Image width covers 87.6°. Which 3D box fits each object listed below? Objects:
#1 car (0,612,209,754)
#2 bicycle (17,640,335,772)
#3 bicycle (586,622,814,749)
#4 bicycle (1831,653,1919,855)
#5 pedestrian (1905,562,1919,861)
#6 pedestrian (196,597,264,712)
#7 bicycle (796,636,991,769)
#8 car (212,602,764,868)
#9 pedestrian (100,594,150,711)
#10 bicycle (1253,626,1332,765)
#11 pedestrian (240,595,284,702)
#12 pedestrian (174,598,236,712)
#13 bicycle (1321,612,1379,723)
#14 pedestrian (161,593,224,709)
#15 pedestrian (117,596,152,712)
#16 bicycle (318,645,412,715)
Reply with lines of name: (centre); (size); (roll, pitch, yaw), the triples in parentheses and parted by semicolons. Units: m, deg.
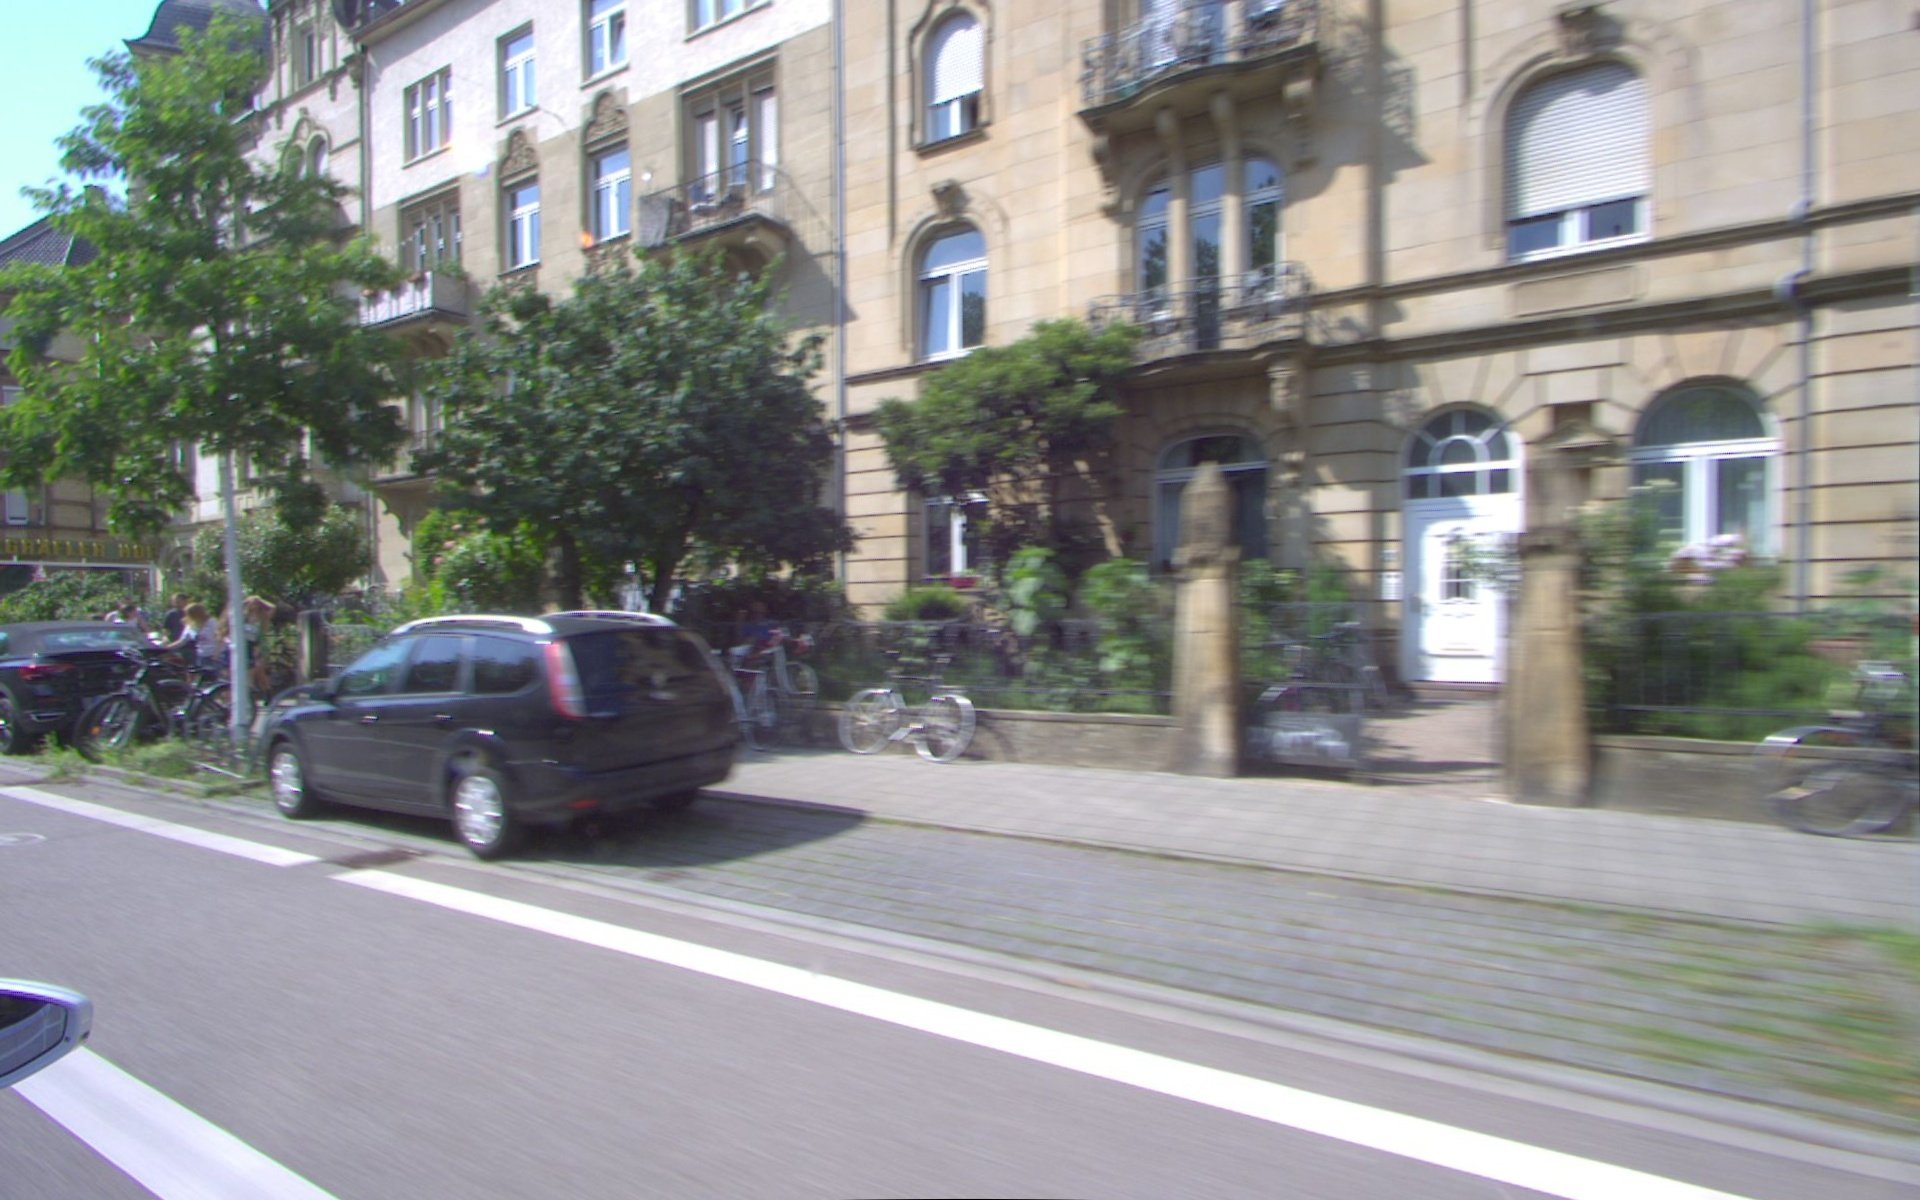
car: (-12.042, 0.972, 13.157); (4.421, 1.547, 1.796); (-1, 1, 29)
bicycle: (-8.908, 1.129, 11.627); (0.779, 1.262, 2.950); (0, -1, 20)
bicycle: (-2.996, 0.906, 11.329); (2.901, 1.265, 0.656); (-1, 2, 33)
bicycle: (6.000, 0.876, 5.567); (1.687, 1.123, 0.469); (-1, 0, 33)
pedestrian: (5.545, 0.608, 5.254); (0.714, 1.650, 0.722); (0, 0, 32)
pedestrian: (-11.080, 0.813, 15.209); (0.564, 1.699, 0.529); (-1, 2, 14)
bicycle: (-0.679, 0.949, 9.723); (1.994, 1.155, 0.426); (-1, 2, 33)
car: (-3.795, 0.815, 7.721); (4.642, 1.522, 1.682); (-1, -1, 33)
pedestrian: (-13.281, 0.825, 15.923); (0.314, 1.829, 0.458); (0, 3, 31)
bicycle: (3.140, 0.835, 9.363); (0.464, 1.084, 1.704); (0, 2, 26)
pedestrian: (-11.509, 0.784, 16.516); (0.425, 1.730, 0.383); (0, 3, 32)
pedestrian: (-11.791, 0.846, 15.645); (0.487, 1.730, 0.502); (-1, 2, 14)
bicycle: (4.583, 0.740, 11.719); (0.464, 1.084, 1.887); (0, 3, 26)
pedestrian: (-12.391, 0.807, 16.176); (0.314, 1.829, 0.668); (0, 3, 30)
pedestrian: (-12.594, 0.814, 15.275); (0.316, 1.730, 0.456); (-3, 3, -44)
bicycle: (-8.955, 1.177, 15.056); (1.782, 0.953, 0.426); (-1, 2, 33)
